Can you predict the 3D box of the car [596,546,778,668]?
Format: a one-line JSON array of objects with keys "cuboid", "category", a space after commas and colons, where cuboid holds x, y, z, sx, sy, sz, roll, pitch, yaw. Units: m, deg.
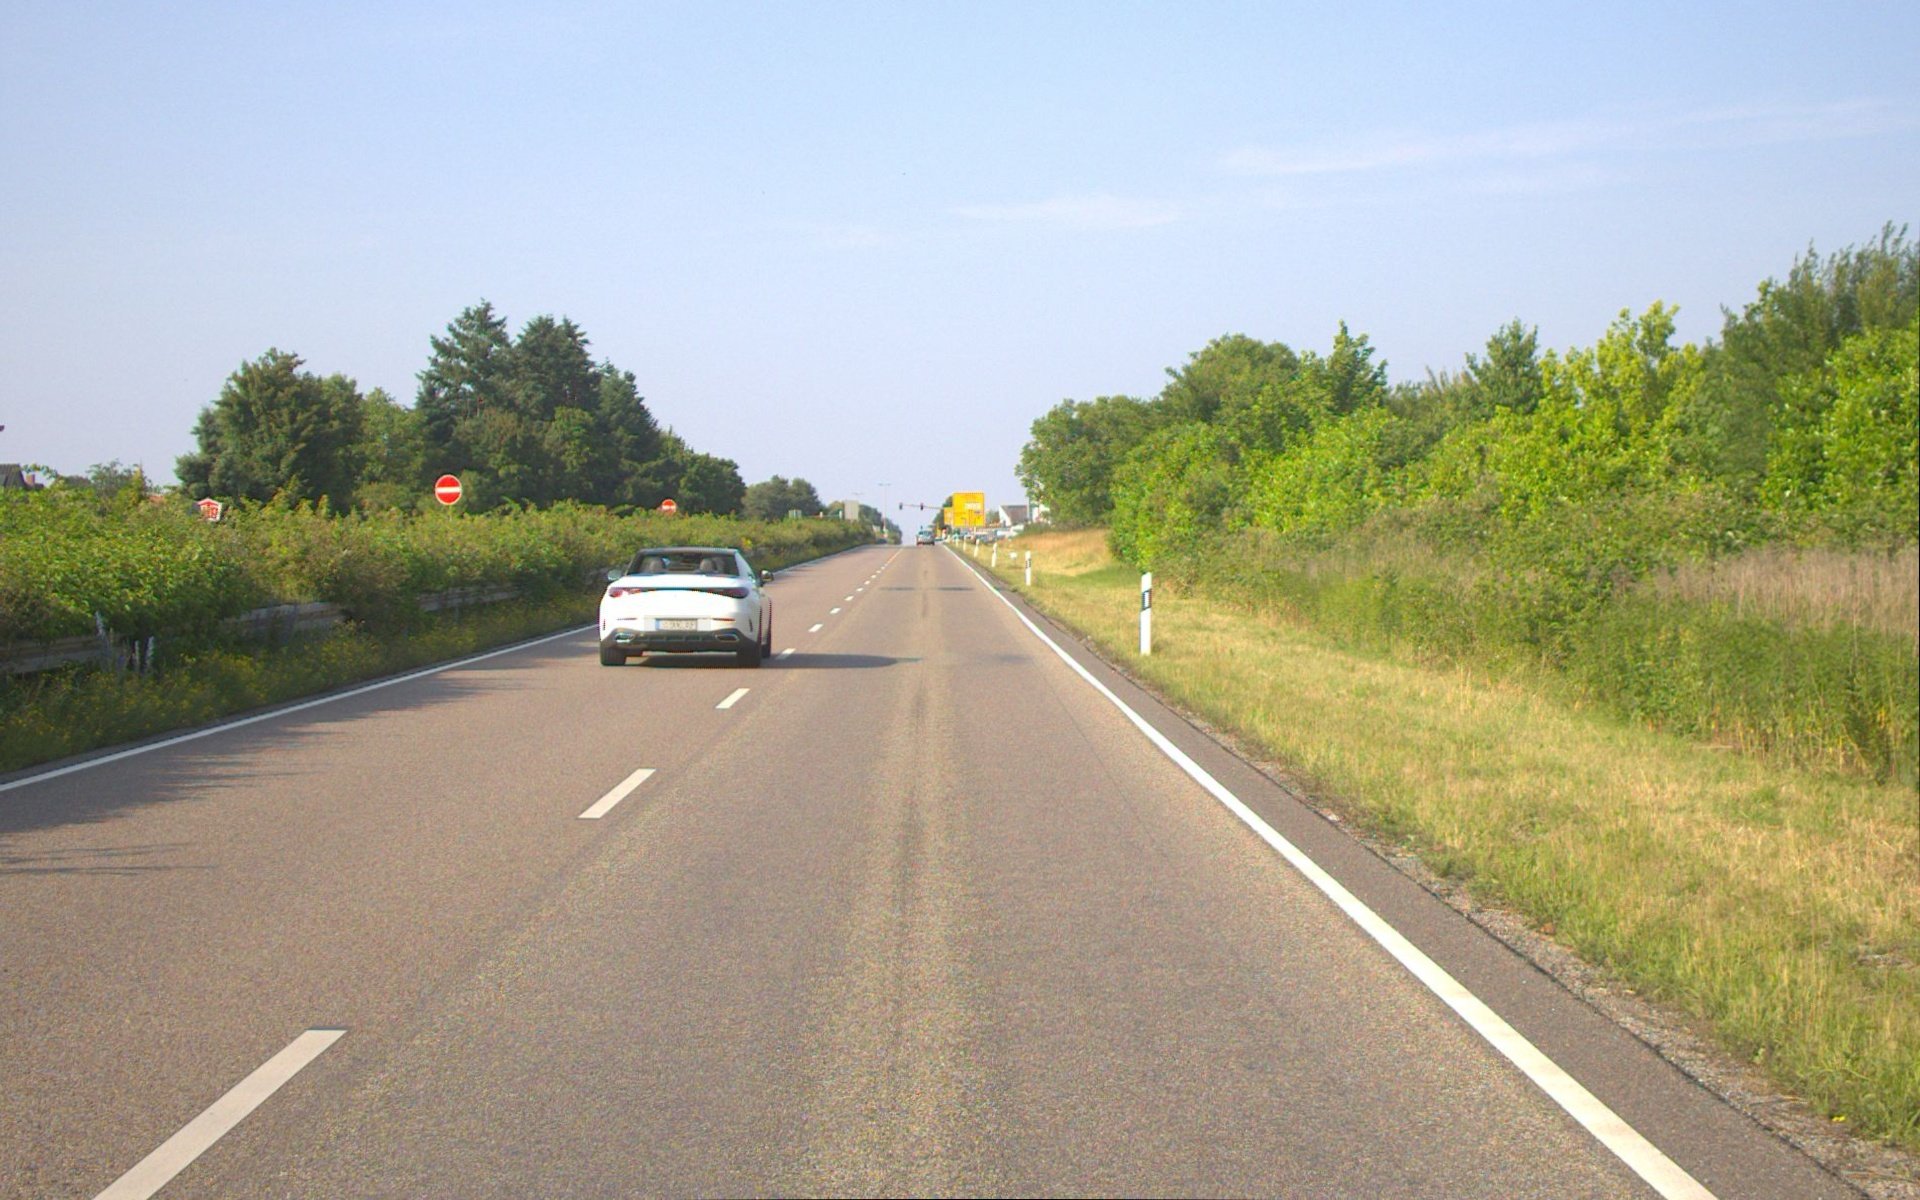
[{"cuboid": [-3.205, 0.040, 41.153, 1.771, 1.333, 4.950, 1, 1, 0], "category": "car"}]
